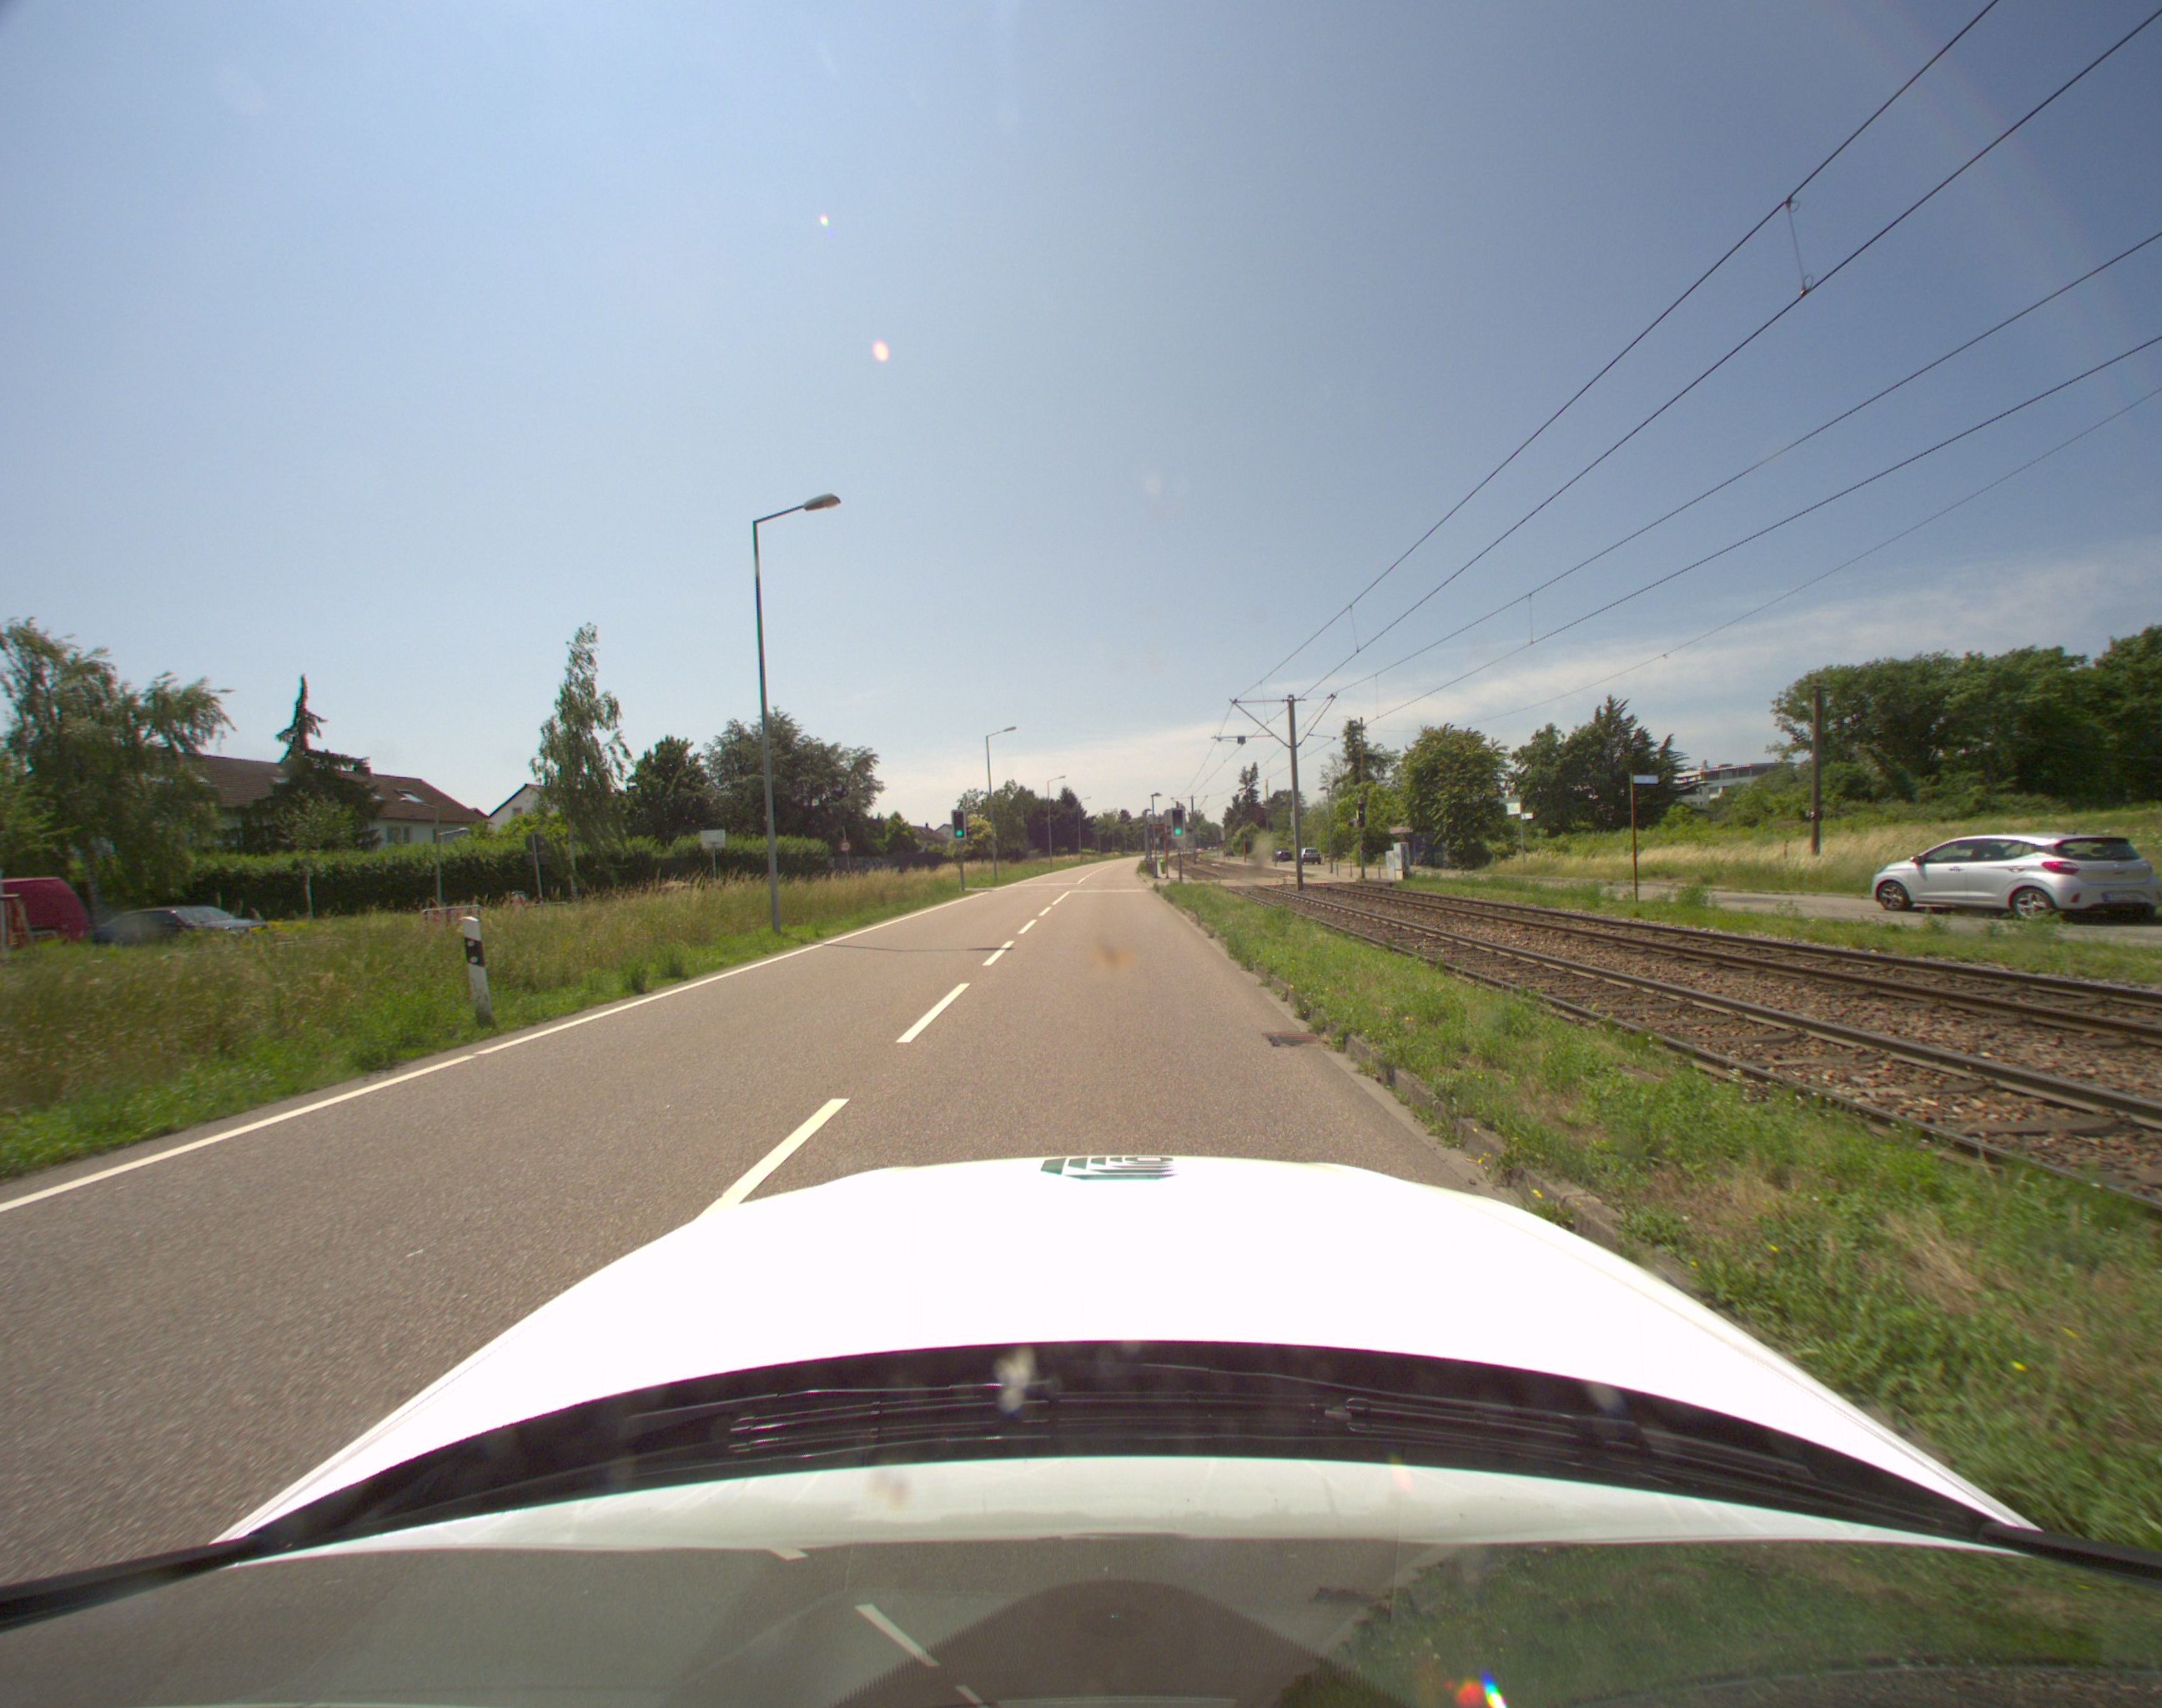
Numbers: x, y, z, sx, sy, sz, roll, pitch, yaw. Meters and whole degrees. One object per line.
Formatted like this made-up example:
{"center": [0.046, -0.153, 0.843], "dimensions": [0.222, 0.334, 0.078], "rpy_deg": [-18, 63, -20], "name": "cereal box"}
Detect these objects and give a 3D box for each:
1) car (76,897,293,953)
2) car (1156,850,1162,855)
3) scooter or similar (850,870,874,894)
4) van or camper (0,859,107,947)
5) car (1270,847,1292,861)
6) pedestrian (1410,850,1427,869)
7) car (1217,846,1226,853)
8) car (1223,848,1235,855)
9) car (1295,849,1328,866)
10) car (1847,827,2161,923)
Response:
{"center": [-25.942, 2.030, 23.700], "dimensions": [3.977, 1.354, 1.998], "rpy_deg": [-1, 0, -2], "name": "car"}
{"center": [24.274, -0.412, 252.427], "dimensions": [1.697, 1.404, 4.717], "rpy_deg": [-1, 0, 7], "name": "car"}
{"center": [-10.988, 1.386, 40.861], "dimensions": [1.017, 1.128, 0.647], "rpy_deg": [-3, 0, -7], "name": "scooter or similar"}
{"center": [-31.505, 1.409, 23.274], "dimensions": [4.741, 2.388, 1.998], "rpy_deg": [-1, 0, -2], "name": "van or camper"}
{"center": [21.860, -0.033, 89.041], "dimensions": [1.612, 1.422, 4.880], "rpy_deg": [-1, 0, 5], "name": "car"}
{"center": [20.859, 0.342, 50.291], "dimensions": [0.803, 1.087, 0.721], "rpy_deg": [-2, 0, 11], "name": "pedestrian"}
{"center": [33.089, -1.110, 191.759], "dimensions": [1.903, 1.470, 4.010], "rpy_deg": [-1, 0, 8], "name": "car"}
{"center": [28.753, -0.556, 158.358], "dimensions": [1.851, 1.330, 4.522], "rpy_deg": [-1, 0, 6], "name": "car"}
{"center": [19.739, 0.303, 69.996], "dimensions": [1.930, 1.422, 4.005], "rpy_deg": [-1, 0, 4], "name": "car"}
{"center": [16.681, 0.323, 14.885], "dimensions": [1.706, 1.488, 4.004], "rpy_deg": [-1, 0, 3], "name": "car"}
